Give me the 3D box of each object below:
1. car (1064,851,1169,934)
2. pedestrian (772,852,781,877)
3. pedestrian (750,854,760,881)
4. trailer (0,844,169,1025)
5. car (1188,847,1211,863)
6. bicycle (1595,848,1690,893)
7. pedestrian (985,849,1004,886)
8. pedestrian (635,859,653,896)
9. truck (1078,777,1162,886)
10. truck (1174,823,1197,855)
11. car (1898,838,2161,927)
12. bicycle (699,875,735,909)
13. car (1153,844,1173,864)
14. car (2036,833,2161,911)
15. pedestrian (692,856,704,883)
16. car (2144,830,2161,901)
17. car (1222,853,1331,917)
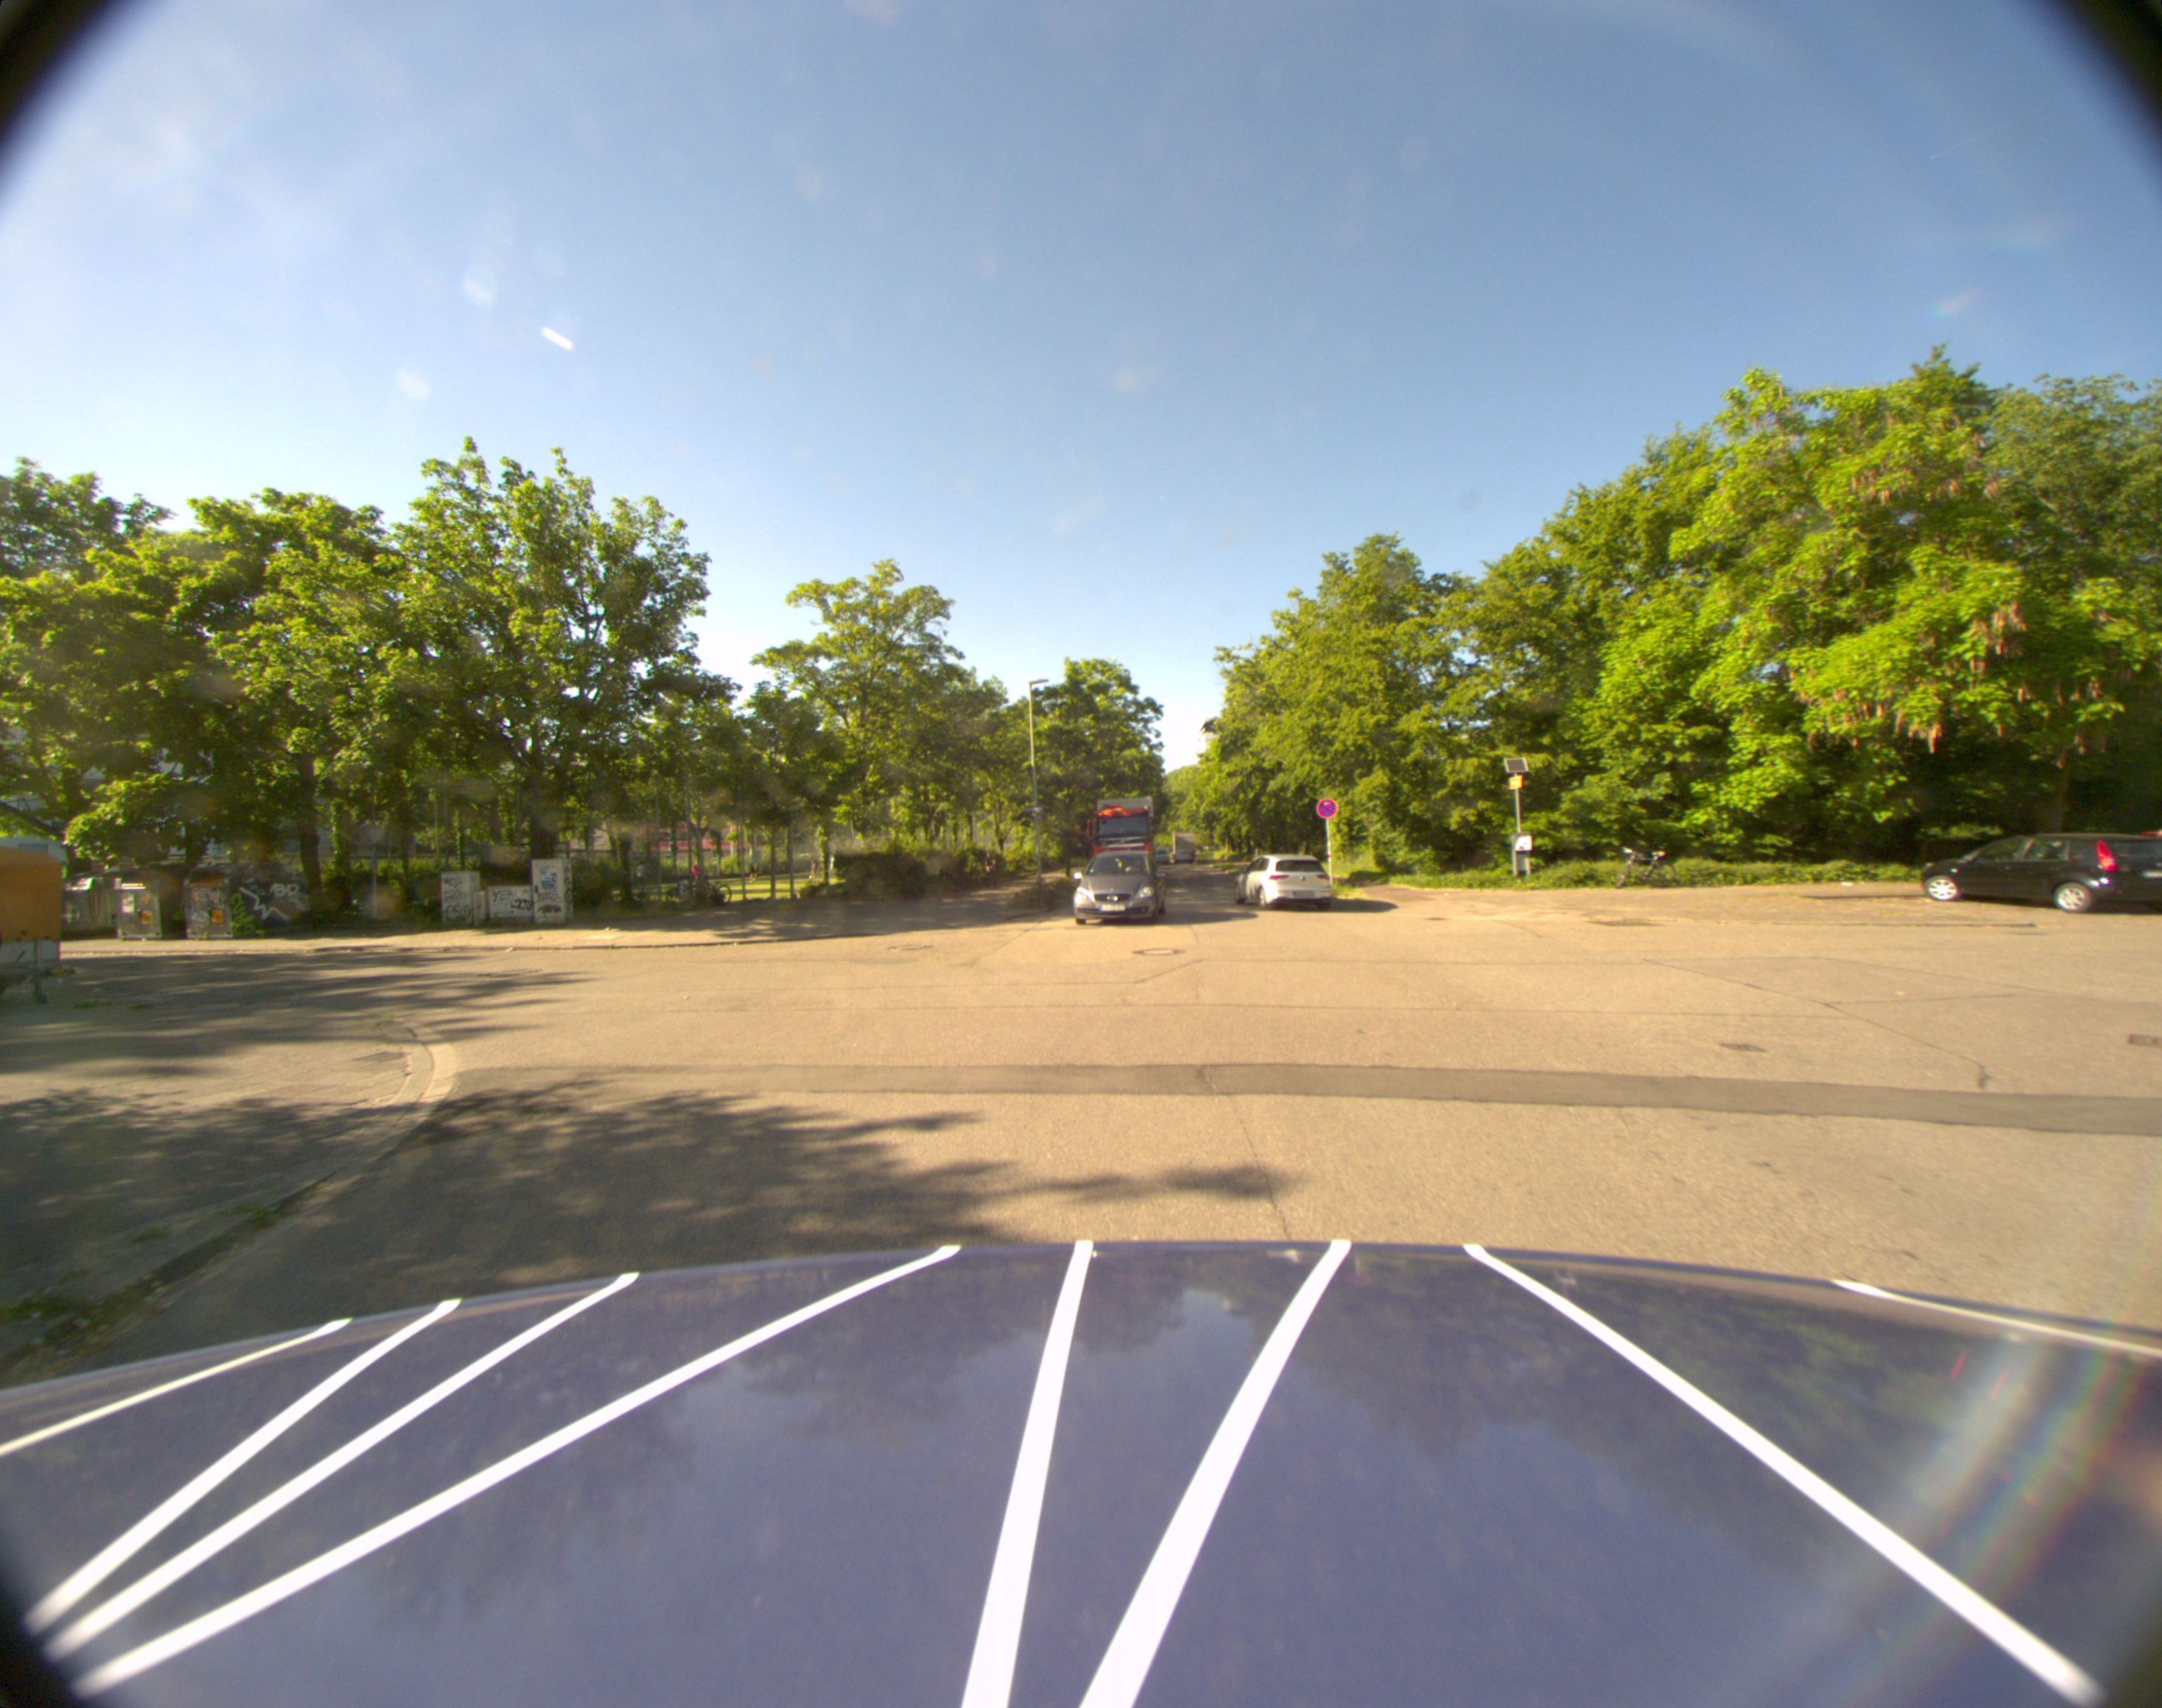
[{"bbox_3d":[0.918,0.779,17.220,1.853,1.635,3.759,-1,0,10],"label":"car"},{"bbox_3d":[-18.351,0.619,45.740,0.317,1.527,0.402,-1,1,2],"label":"pedestrian"},{"bbox_3d":[-18.427,0.745,42.964,0.320,1.527,0.393,-1,1,2],"label":"pedestrian"},{"bbox_3d":[-14.526,0.977,9.529,4.070,2.107,1.979,-1,0,6],"label":"trailer"},{"bbox_3d":[12.109,0.106,77.704,1.998,1.576,4.001,-2,1,5],"label":"car"},{"bbox_3d":[15.064,0.443,20.452,1.902,1.146,0.761,-1,4,16],"label":"bicycle"},{"bbox_3d":[-3.832,0.601,33.653,0.641,1.629,0.641,-1,1,9],"label":"pedestrian"},{"bbox_3d":[-18.136,0.980,31.556,0.437,1.527,0.429,-1,1,2],"label":"pedestrian"},{"bbox_3d":[2.126,-0.957,36.115,3.165,4.320,10.588,-1,1,7],"label":"truck"},{"bbox_3d":[13.648,-2.009,99.701,2.802,3.996,9.628,0,2,7],"label":"truck"},{"bbox_3d":[19.341,0.470,15.352,1.673,1.479,3.886,-1,2,5],"label":"car"},{"bbox_3d":[-10.928,1.129,22.837,0.909,0.953,0.294,-2,1,-42],"label":"bicycle"},{"bbox_3d":[7.962,-0.039,74.222,1.844,1.795,4.030,-2,1,5],"label":"car"},{"bbox_3d":[22.013,0.359,14.965,1.673,1.479,3.886,-1,2,5],"label":"car"},{"bbox_3d":[-21.374,0.858,42.420,0.437,1.527,0.429,-1,1,2],"label":"pedestrian"},{"bbox_3d":[24.889,0.299,15.302,1.673,1.594,3.886,-1,2,5],"label":"car"},{"bbox_3d":[5.187,0.764,20.740,1.666,1.458,4.186,0,2,-3],"label":"car"}]
